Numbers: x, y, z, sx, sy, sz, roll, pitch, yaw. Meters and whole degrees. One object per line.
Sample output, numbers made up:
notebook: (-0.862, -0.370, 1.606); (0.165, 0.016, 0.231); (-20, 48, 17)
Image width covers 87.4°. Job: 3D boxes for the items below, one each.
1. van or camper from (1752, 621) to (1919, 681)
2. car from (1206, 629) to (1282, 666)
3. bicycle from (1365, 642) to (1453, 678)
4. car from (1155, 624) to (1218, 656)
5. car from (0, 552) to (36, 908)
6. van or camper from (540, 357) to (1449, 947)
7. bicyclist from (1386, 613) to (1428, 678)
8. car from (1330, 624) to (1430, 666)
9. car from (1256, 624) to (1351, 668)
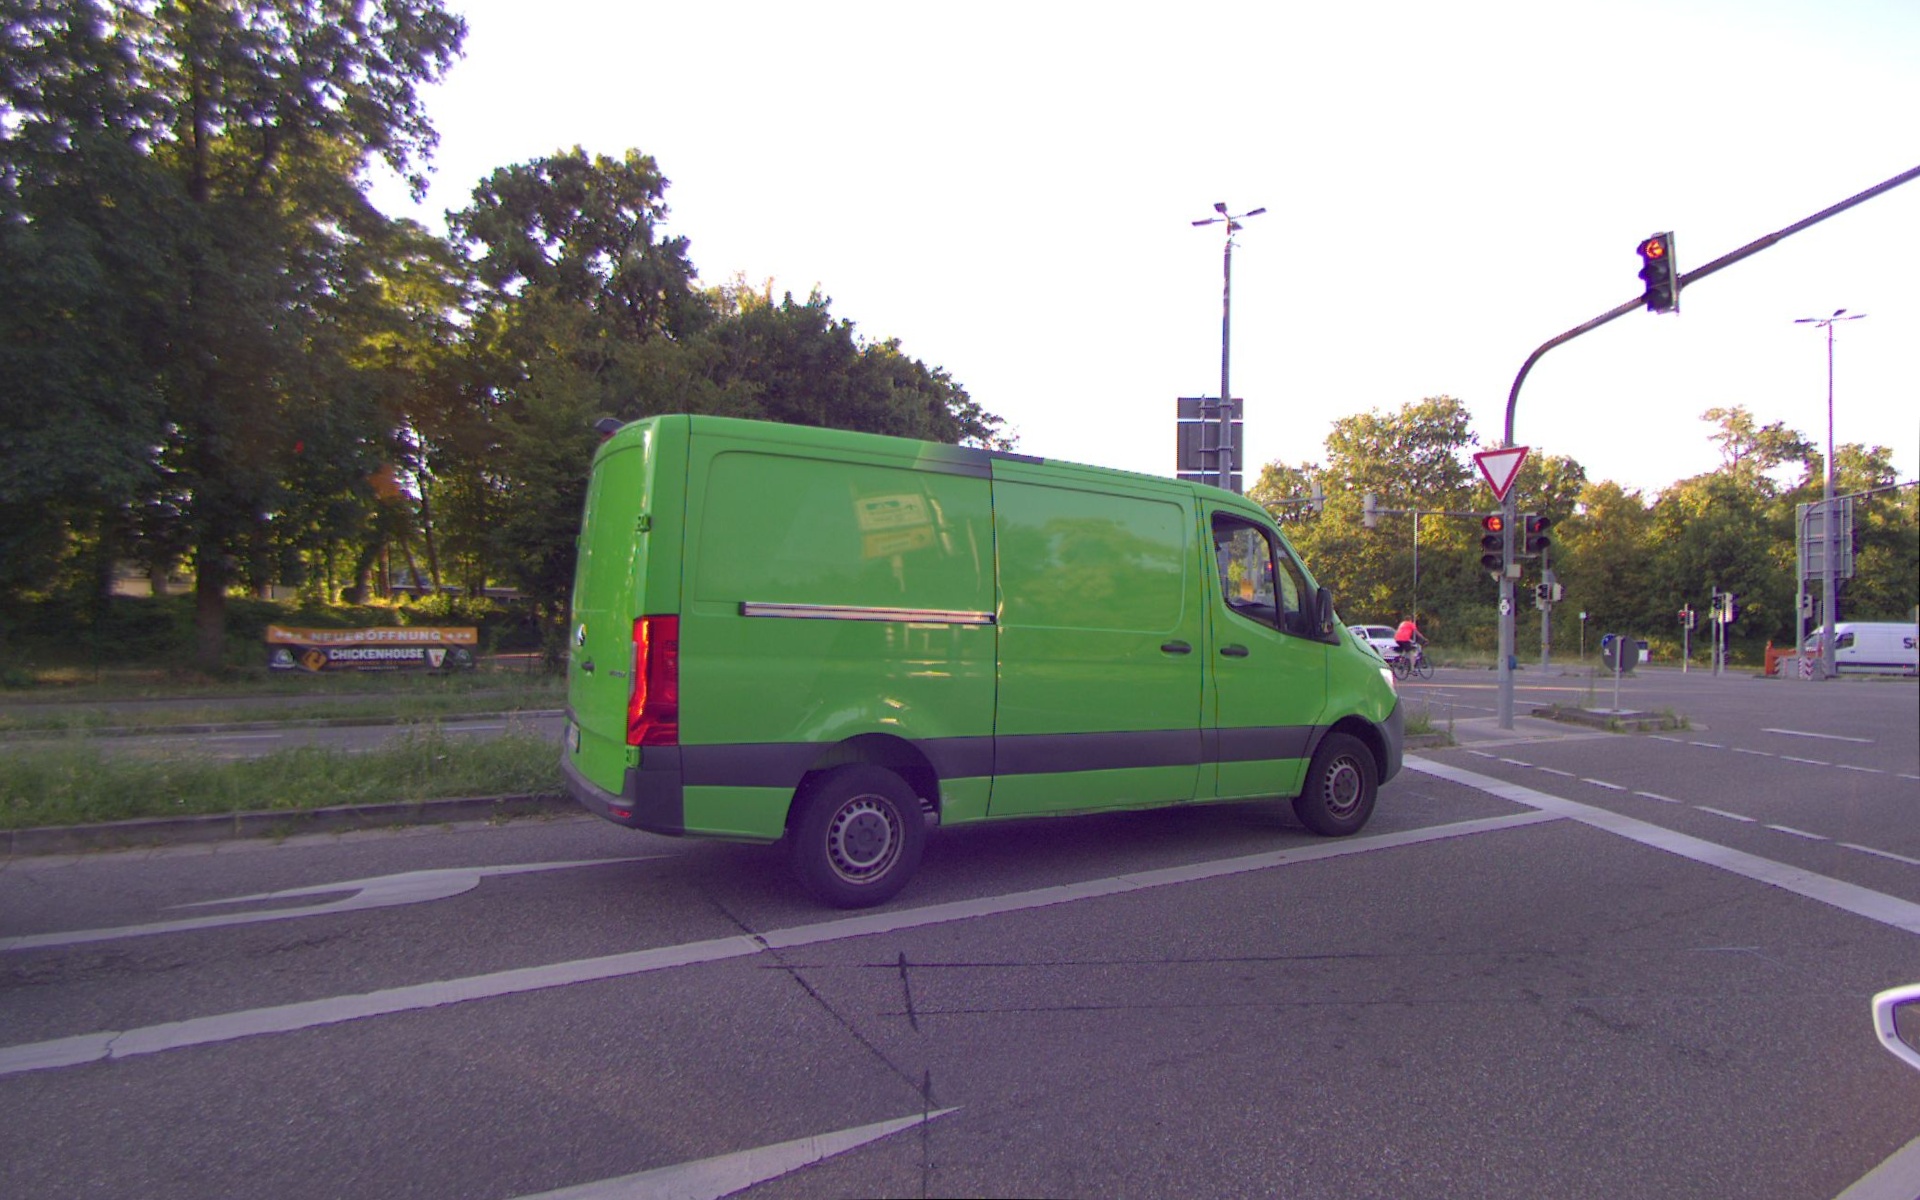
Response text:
van or camper: (42.307, 2.377, 47.774); (6.980, 2.687, 2.895); (1, -1, 1)
car: (13.509, 2.231, 48.048); (1.963, 1.661, 4.252); (1, -1, -8)
bicycle: (13.453, 1.803, 30.105); (2.608, 1.044, 0.765); (1, -1, -19)
car: (12.632, 2.220, 56.189); (1.964, 1.661, 4.250); (1, -1, -10)
car: (-5.627, 0.525, 2.923); (3.955, 1.572, 1.983); (2, -1, -32)
van or camper: (0.546, 0.294, 6.567); (5.830, 2.453, 1.983); (2, -1, -32)
bicyclist: (13.393, 1.365, 30.113); (0.965, 1.904, 0.674); (1, -1, -19)
car: (17.505, 1.853, 42.106); (1.963, 1.661, 4.252); (1, -1, -8)
car: (13.818, 1.818, 40.699); (1.963, 1.661, 4.252); (1, -1, -8)
